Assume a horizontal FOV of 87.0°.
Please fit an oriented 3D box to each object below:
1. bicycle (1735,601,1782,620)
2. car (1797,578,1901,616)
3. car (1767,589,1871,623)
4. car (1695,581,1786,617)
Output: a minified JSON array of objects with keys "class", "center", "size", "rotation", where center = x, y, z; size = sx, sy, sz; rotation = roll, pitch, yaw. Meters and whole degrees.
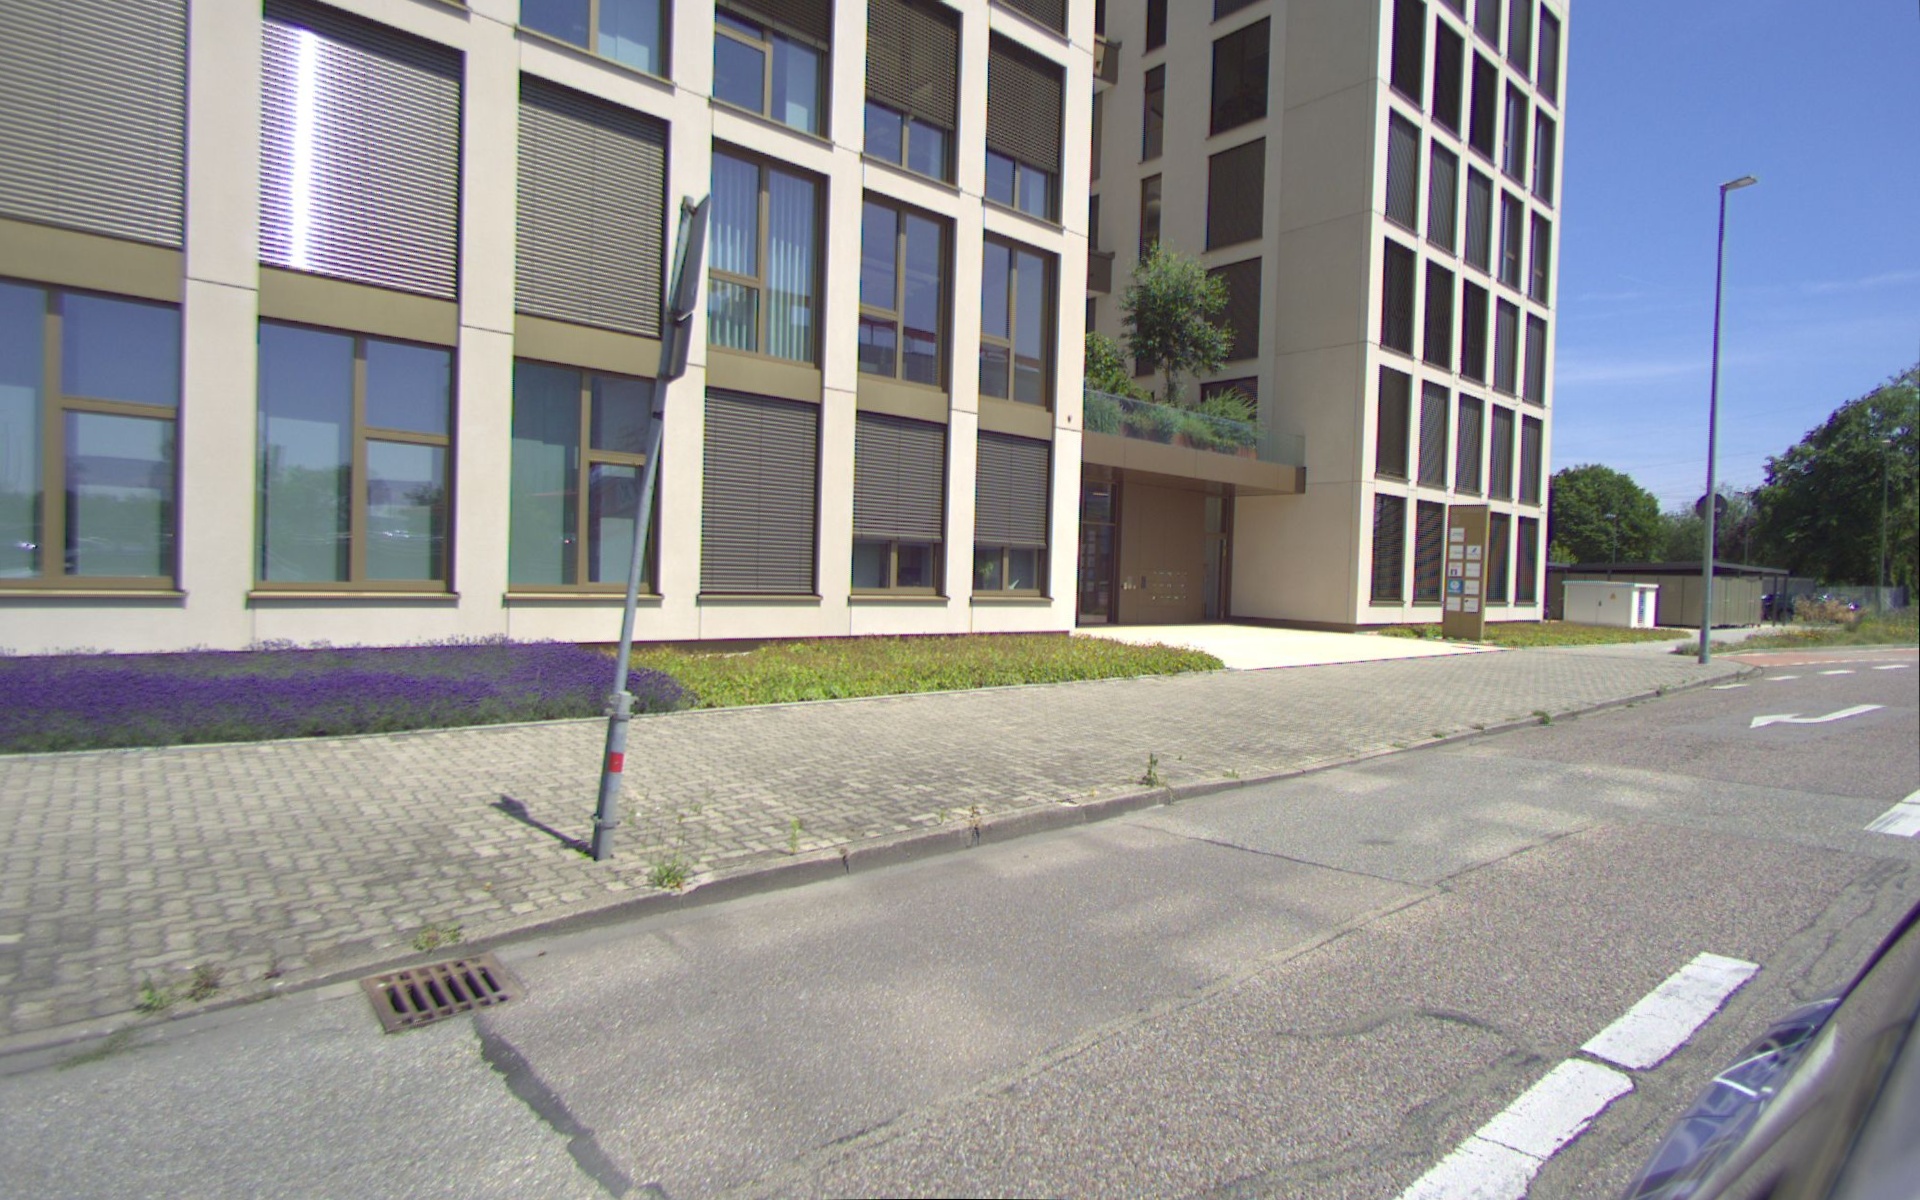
[{"class":"bicycle","center":[41.996,0.531,53.239],"size":[0.573,0.874,1.862],"rotation":[0,3,-42]},{"class":"car","center":[50.822,-0.212,57.932],"size":[3.957,1.977,1.984],"rotation":[3,2,24]},{"class":"car","center":[47.345,0.306,55.895],"size":[3.959,1.682,1.823],"rotation":[3,2,26]},{"class":"car","center":[48.188,-0.110,62.594],"size":[3.957,2.038,1.984],"rotation":[3,2,24]}]
